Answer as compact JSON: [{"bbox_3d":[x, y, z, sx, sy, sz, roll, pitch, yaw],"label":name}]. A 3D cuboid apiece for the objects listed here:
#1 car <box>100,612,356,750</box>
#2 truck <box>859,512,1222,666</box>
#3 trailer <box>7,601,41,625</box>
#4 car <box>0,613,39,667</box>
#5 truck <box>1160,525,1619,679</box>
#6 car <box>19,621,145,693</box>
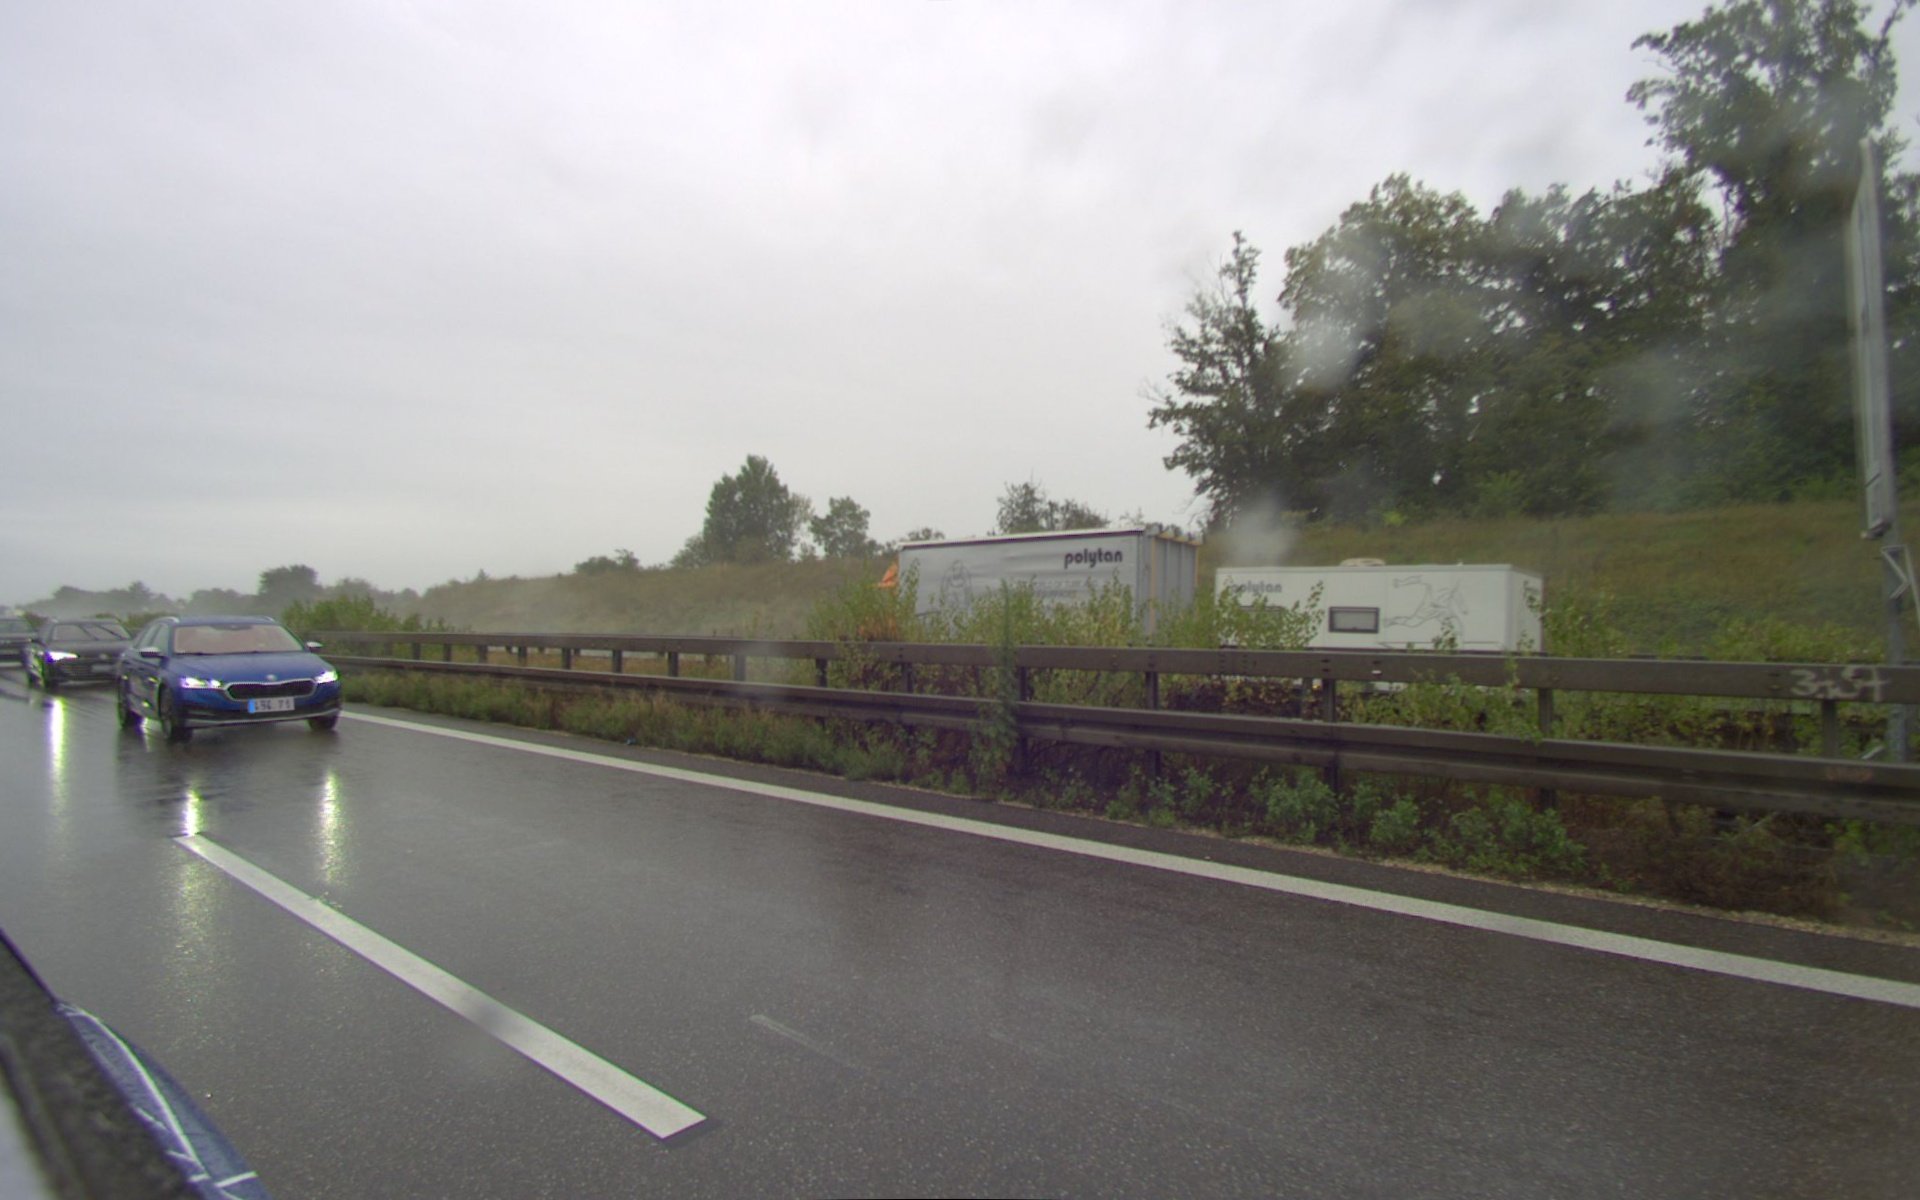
[{"bbox_3d":[-9.630,0.935,13.165,4.510,1.487,1.767,-2,-1,41],"label":"car"},{"bbox_3d":[1.704,-0.109,25.799,9.248,3.306,2.896,-2,-1,40],"label":"truck"},{"bbox_3d":[-116.878,1.605,126.302,7.323,2.739,2.454,0,-2,43],"label":"trailer"},{"bbox_3d":[-30.988,1.269,32.333,4.267,1.644,1.864,-2,-1,41],"label":"car"},{"bbox_3d":[8.108,0.068,19.916,7.887,2.499,2.624,-1,0,40],"label":"truck"},{"bbox_3d":[-19.855,1.227,22.824,4.368,1.447,1.592,-2,-1,41],"label":"car"}]
